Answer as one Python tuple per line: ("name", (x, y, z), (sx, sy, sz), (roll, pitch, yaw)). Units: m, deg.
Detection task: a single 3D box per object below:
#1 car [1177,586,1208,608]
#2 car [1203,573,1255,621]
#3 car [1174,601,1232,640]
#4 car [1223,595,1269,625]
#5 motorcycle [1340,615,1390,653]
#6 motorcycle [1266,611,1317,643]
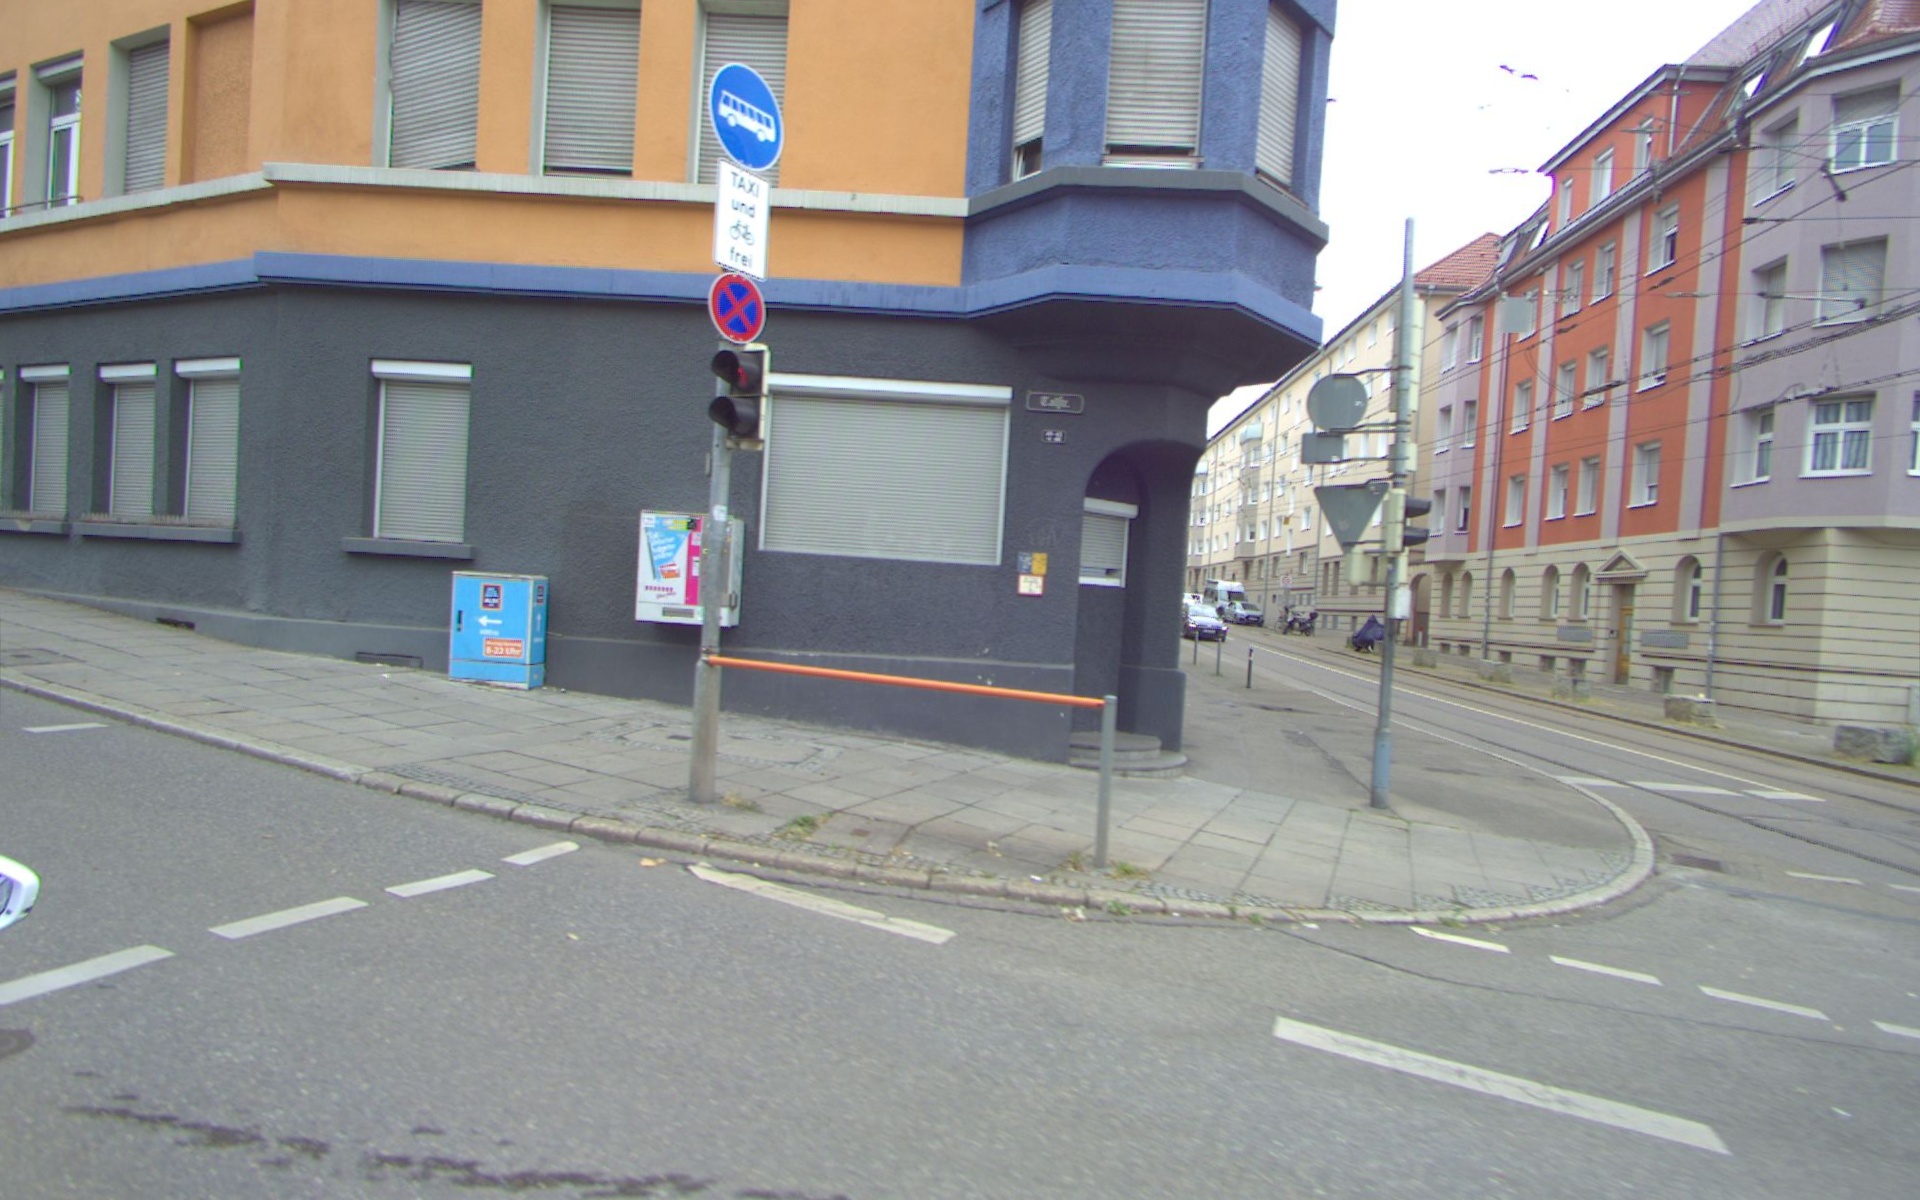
("car", (18.699, -0.274, 80.987), (1.668, 1.577, 3.642), (6, 1, 3))
("car", (18.170, -0.218, 68.222), (2.232, 2.928, 4.766), (6, 2, 3))
("car", (10.331, 0.835, 43.075), (1.659, 1.344, 3.660), (6, 1, 3))
("car", (17.758, 0.587, 62.654), (1.811, 1.589, 3.817), (6, 1, 3))
("motorcycle", (15.684, 1.292, 39.044), (0.846, 1.345, 2.180), (-1, 2, -6))
("motorcycle", (16.338, 1.323, 49.582), (2.145, 1.344, 0.698), (6, 2, -7))
